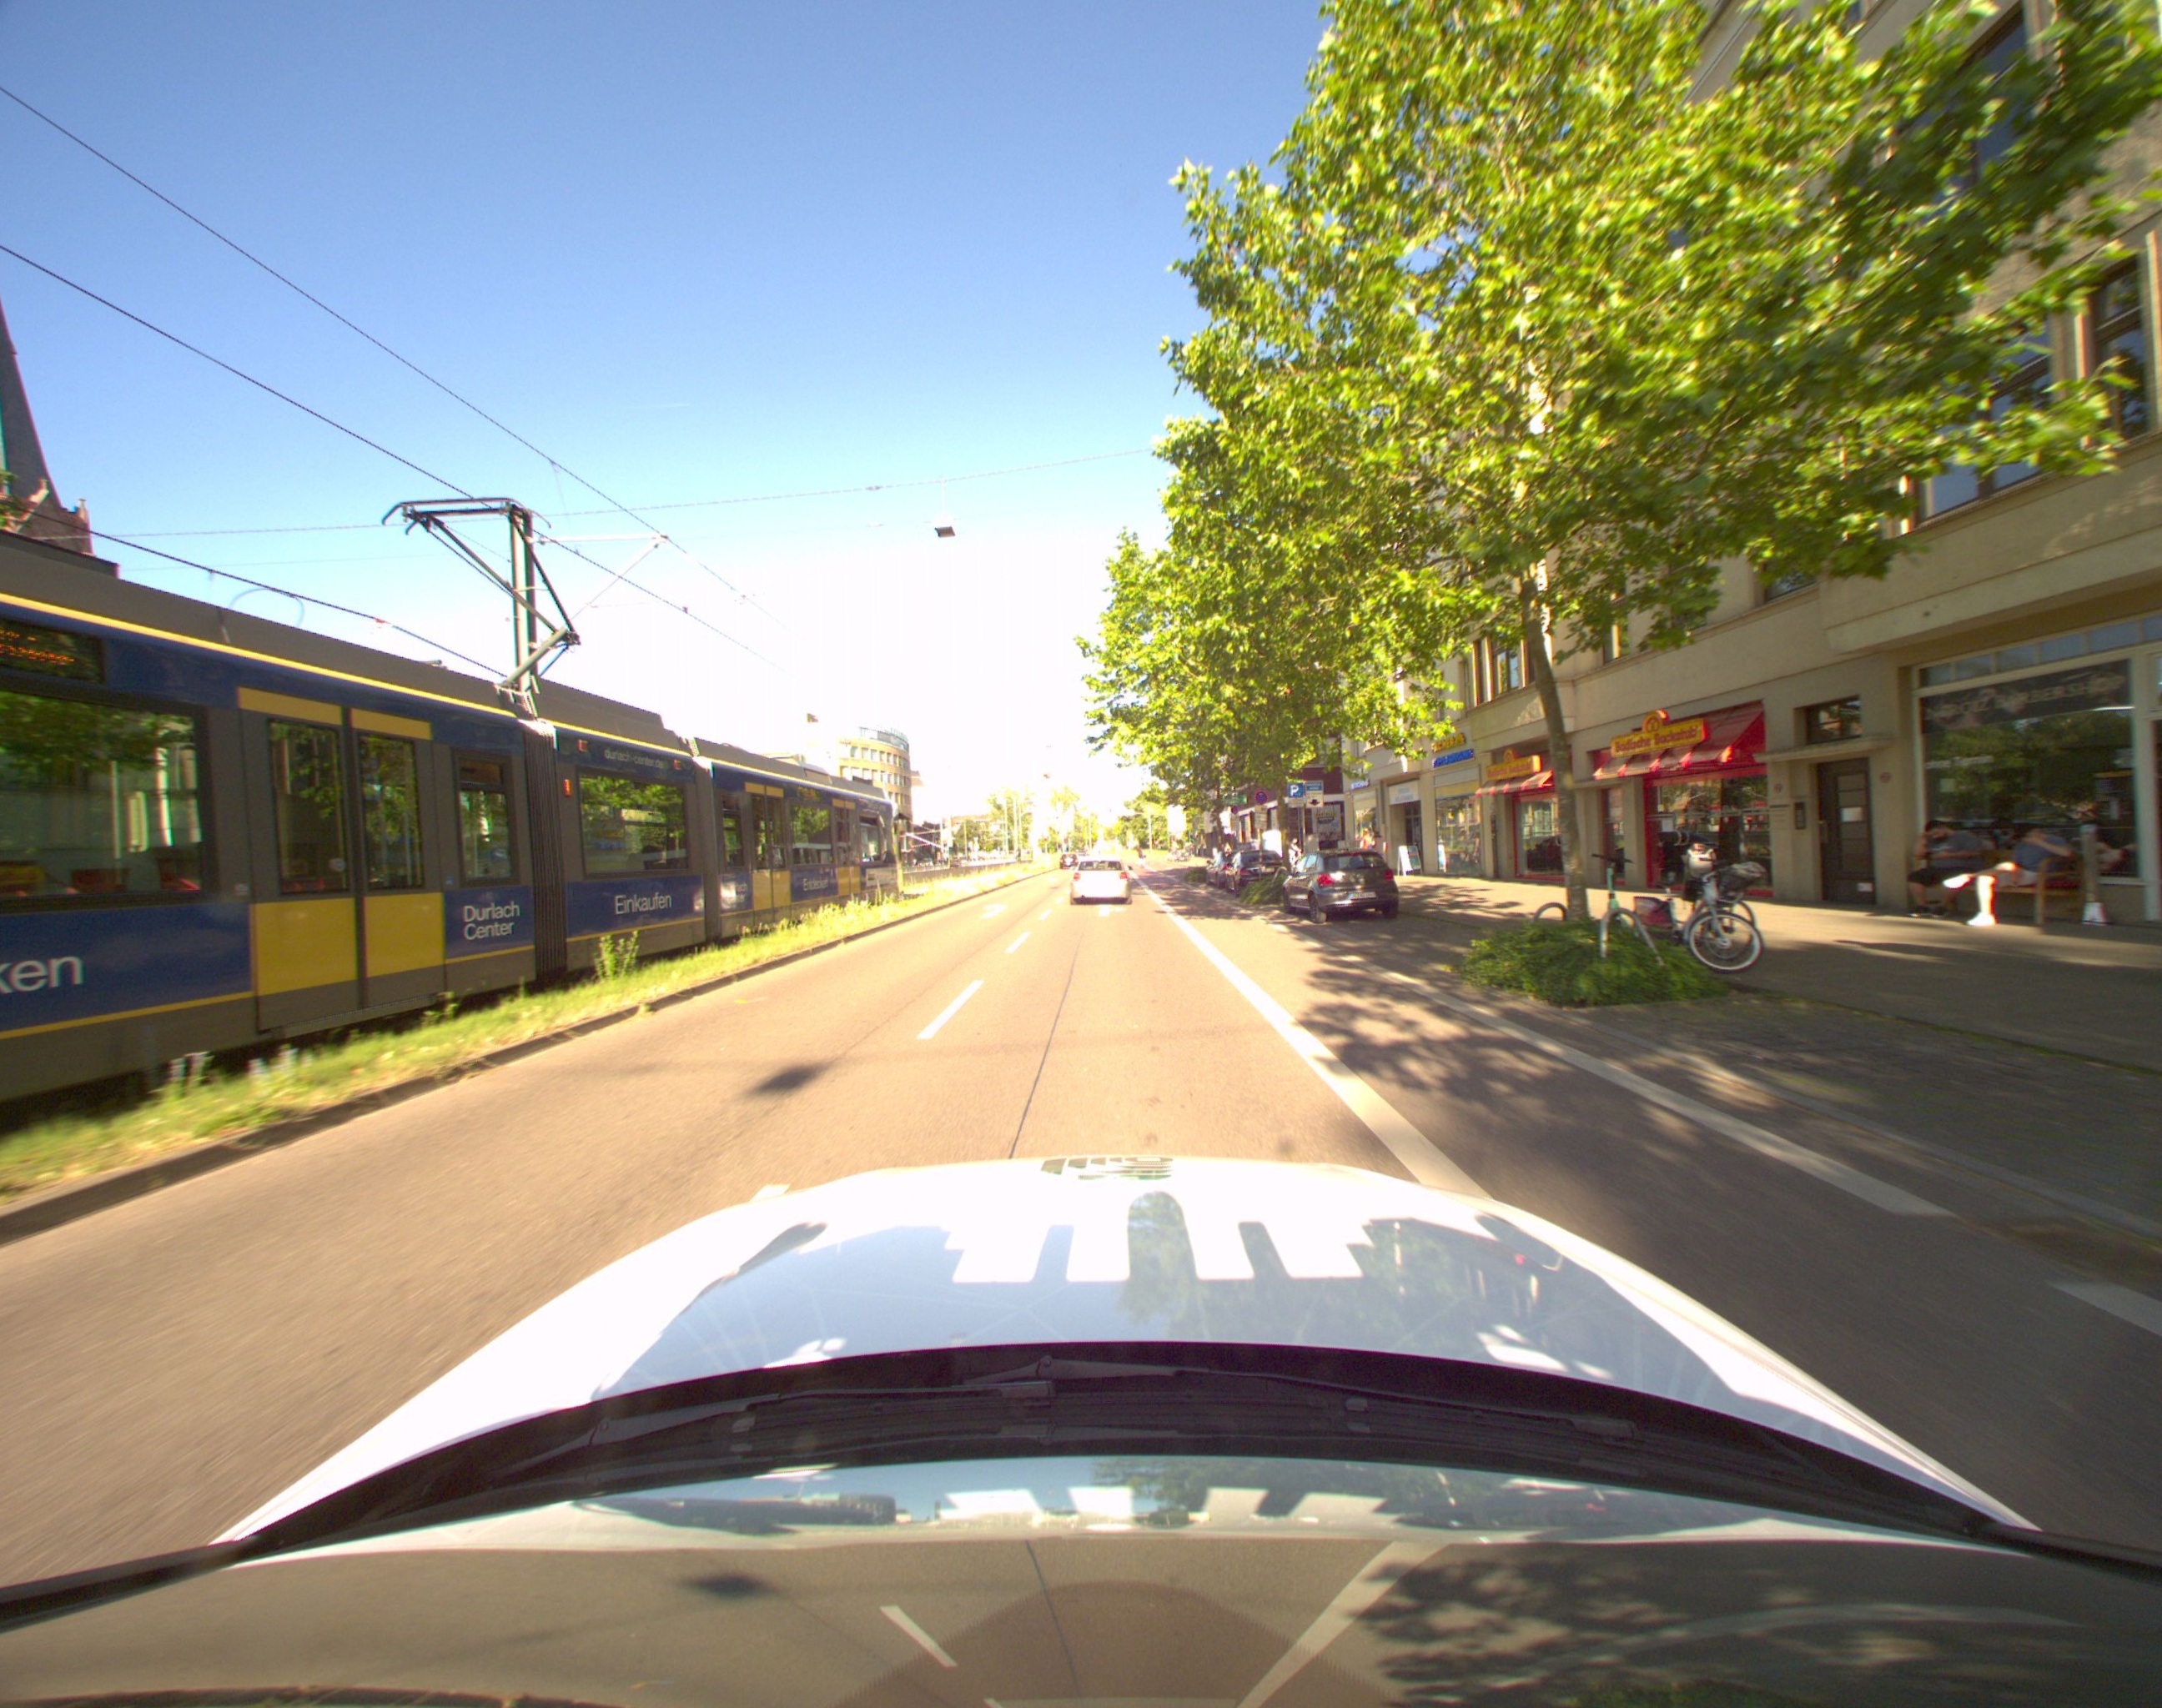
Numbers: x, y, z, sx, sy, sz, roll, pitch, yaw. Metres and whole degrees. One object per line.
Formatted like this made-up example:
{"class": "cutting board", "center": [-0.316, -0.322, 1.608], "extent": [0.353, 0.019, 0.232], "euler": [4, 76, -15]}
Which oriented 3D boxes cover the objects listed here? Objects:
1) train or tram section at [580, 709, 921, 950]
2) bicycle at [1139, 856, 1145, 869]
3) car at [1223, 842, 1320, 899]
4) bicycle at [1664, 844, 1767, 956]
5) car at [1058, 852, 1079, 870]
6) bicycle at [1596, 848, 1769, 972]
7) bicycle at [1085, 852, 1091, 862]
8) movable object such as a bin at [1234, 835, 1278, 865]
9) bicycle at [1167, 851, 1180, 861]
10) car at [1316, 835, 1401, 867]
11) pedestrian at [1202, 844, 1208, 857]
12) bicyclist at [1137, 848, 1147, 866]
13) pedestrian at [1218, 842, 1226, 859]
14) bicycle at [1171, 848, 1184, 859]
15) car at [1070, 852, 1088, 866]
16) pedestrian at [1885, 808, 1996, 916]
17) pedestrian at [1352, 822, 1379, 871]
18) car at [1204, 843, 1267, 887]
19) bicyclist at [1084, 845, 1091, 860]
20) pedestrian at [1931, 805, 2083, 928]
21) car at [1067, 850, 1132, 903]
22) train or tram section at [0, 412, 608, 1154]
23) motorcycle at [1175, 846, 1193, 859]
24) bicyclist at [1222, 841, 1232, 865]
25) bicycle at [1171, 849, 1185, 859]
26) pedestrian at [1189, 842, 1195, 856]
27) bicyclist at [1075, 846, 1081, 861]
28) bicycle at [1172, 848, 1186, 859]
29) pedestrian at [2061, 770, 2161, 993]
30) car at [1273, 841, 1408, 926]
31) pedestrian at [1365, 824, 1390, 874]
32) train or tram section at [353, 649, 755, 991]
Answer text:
{"class": "train or tram section", "center": [-6.432, -0.386, 18.624], "extent": [2.941, 3.897, 10.809], "euler": [0, 0, 3]}
{"class": "bicycle", "center": [5.285, 0.719, 70.673], "extent": [0.497, 1.088, 1.998], "euler": [0, 0, 2]}
{"class": "car", "center": [5.742, 0.451, 25.128], "extent": [2.031, 1.509, 4.596], "euler": [-2, 0, 2]}
{"class": "bicycle", "center": [7.510, 0.489, 9.715], "extent": [0.382, 1.207, 1.883], "euler": [-2, 0, 20]}
{"class": "car", "center": [-1.108, 0.618, 73.248], "extent": [1.721, 1.470, 4.409], "euler": [-2, 0, -1]}
{"class": "bicycle", "center": [6.609, 0.580, 9.083], "extent": [0.391, 1.215, 1.901], "euler": [-3, -1, -2]}
{"class": "bicycle", "center": [0.712, 0.311, 86.965], "extent": [0.338, 1.056, 1.774], "euler": [-2, 0, -8]}
{"class": "movable object such as a bin", "center": [11.594, -0.266, 54.294], "extent": [1.941, 1.843, 3.475], "euler": [-2, 1, -4]}
{"class": "bicycle", "center": [10.832, 0.253, 95.698], "extent": [1.458, 1.067, 0.257], "euler": [-3, -1, 3]}
{"class": "car", "center": [16.319, -0.185, 48.041], "extent": [4.283, 1.788, 1.996], "euler": [-1, 0, 1]}
{"class": "pedestrian", "center": [17.576, -0.450, 115.365], "extent": [0.819, 1.856, 0.921], "euler": [-1, 0, 16]}
{"class": "bicyclist", "center": [5.287, 0.292, 70.669], "extent": [0.782, 1.531, 0.895], "euler": [0, 0, 2]}
{"class": "pedestrian", "center": [13.717, -0.316, 79.230], "extent": [0.570, 1.582, 0.557], "euler": [-2, 0, 2]}
{"class": "bicycle", "center": [10.744, -0.055, 90.665], "extent": [1.458, 1.067, 0.257], "euler": [-3, -1, 3]}
{"class": "car", "center": [-0.166, 0.486, 81.518], "extent": [1.638, 1.421, 4.002], "euler": [-1, 0, 2]}
{"class": "pedestrian", "center": [11.160, 0.101, 10.602], "extent": [0.533, 1.332, 0.821], "euler": [-3, 0, 2]}
{"class": "pedestrian", "center": [11.276, -0.290, 32.259], "extent": [0.711, 1.900, 0.863], "euler": [-3, 0, 2]}
{"class": "car", "center": [6.143, 0.399, 32.742], "extent": [1.782, 1.555, 4.438], "euler": [-2, 0, 2]}
{"class": "bicyclist", "center": [0.723, -0.183, 86.935], "extent": [0.616, 1.571, 0.684], "euler": [-2, 0, -10]}
{"class": "pedestrian", "center": [11.015, 0.147, 9.721], "extent": [0.782, 1.369, 0.857], "euler": [-3, 0, 2]}
{"class": "car", "center": [0.580, 0.621, 24.794], "extent": [1.791, 1.415, 4.002], "euler": [-2, 0, 2]}
{"class": "train or tram section", "center": [-7.053, -0.362, 2.228], "extent": [2.918, 3.812, 14.276], "euler": [0, 0, 1]}
{"class": "motorcycle", "center": [10.887, -0.112, 86.129], "extent": [1.846, 1.300, 0.653], "euler": [-2, 0, 4]}
{"class": "bicyclist", "center": [10.331, -0.092, 57.497], "extent": [0.597, 1.690, 0.599], "euler": [-2, 0, 12]}
{"class": "bicycle", "center": [10.745, -0.005, 90.204], "extent": [1.458, 1.067, 0.257], "euler": [-3, -1, 3]}
{"class": "pedestrian", "center": [15.675, -0.693, 115.021], "extent": [0.786, 2.013, 0.872], "euler": [0, 0, 9]}
{"class": "bicyclist", "center": [-0.280, -0.041, 86.810], "extent": [0.614, 1.572, 0.687], "euler": [0, 0, 3]}
{"class": "bicycle", "center": [10.728, -0.033, 89.224], "extent": [1.458, 1.067, 0.257], "euler": [-3, -1, 3]}
{"class": "pedestrian", "center": [8.663, 0.183, 6.331], "extent": [0.856, 1.704, 0.916], "euler": [-5, 0, -1]}
{"class": "car", "center": [5.434, 0.542, 17.538], "extent": [1.688, 1.502, 3.803], "euler": [-4, 0, 2]}
{"class": "pedestrian", "center": [10.343, -0.181, 28.383], "extent": [0.556, 1.711, 0.770], "euler": [-2, 0, 2]}
{"class": "train or tram section", "center": [-6.810, -0.390, 11.246], "extent": [2.944, 3.897, 3.867], "euler": [0, 0, 1]}
